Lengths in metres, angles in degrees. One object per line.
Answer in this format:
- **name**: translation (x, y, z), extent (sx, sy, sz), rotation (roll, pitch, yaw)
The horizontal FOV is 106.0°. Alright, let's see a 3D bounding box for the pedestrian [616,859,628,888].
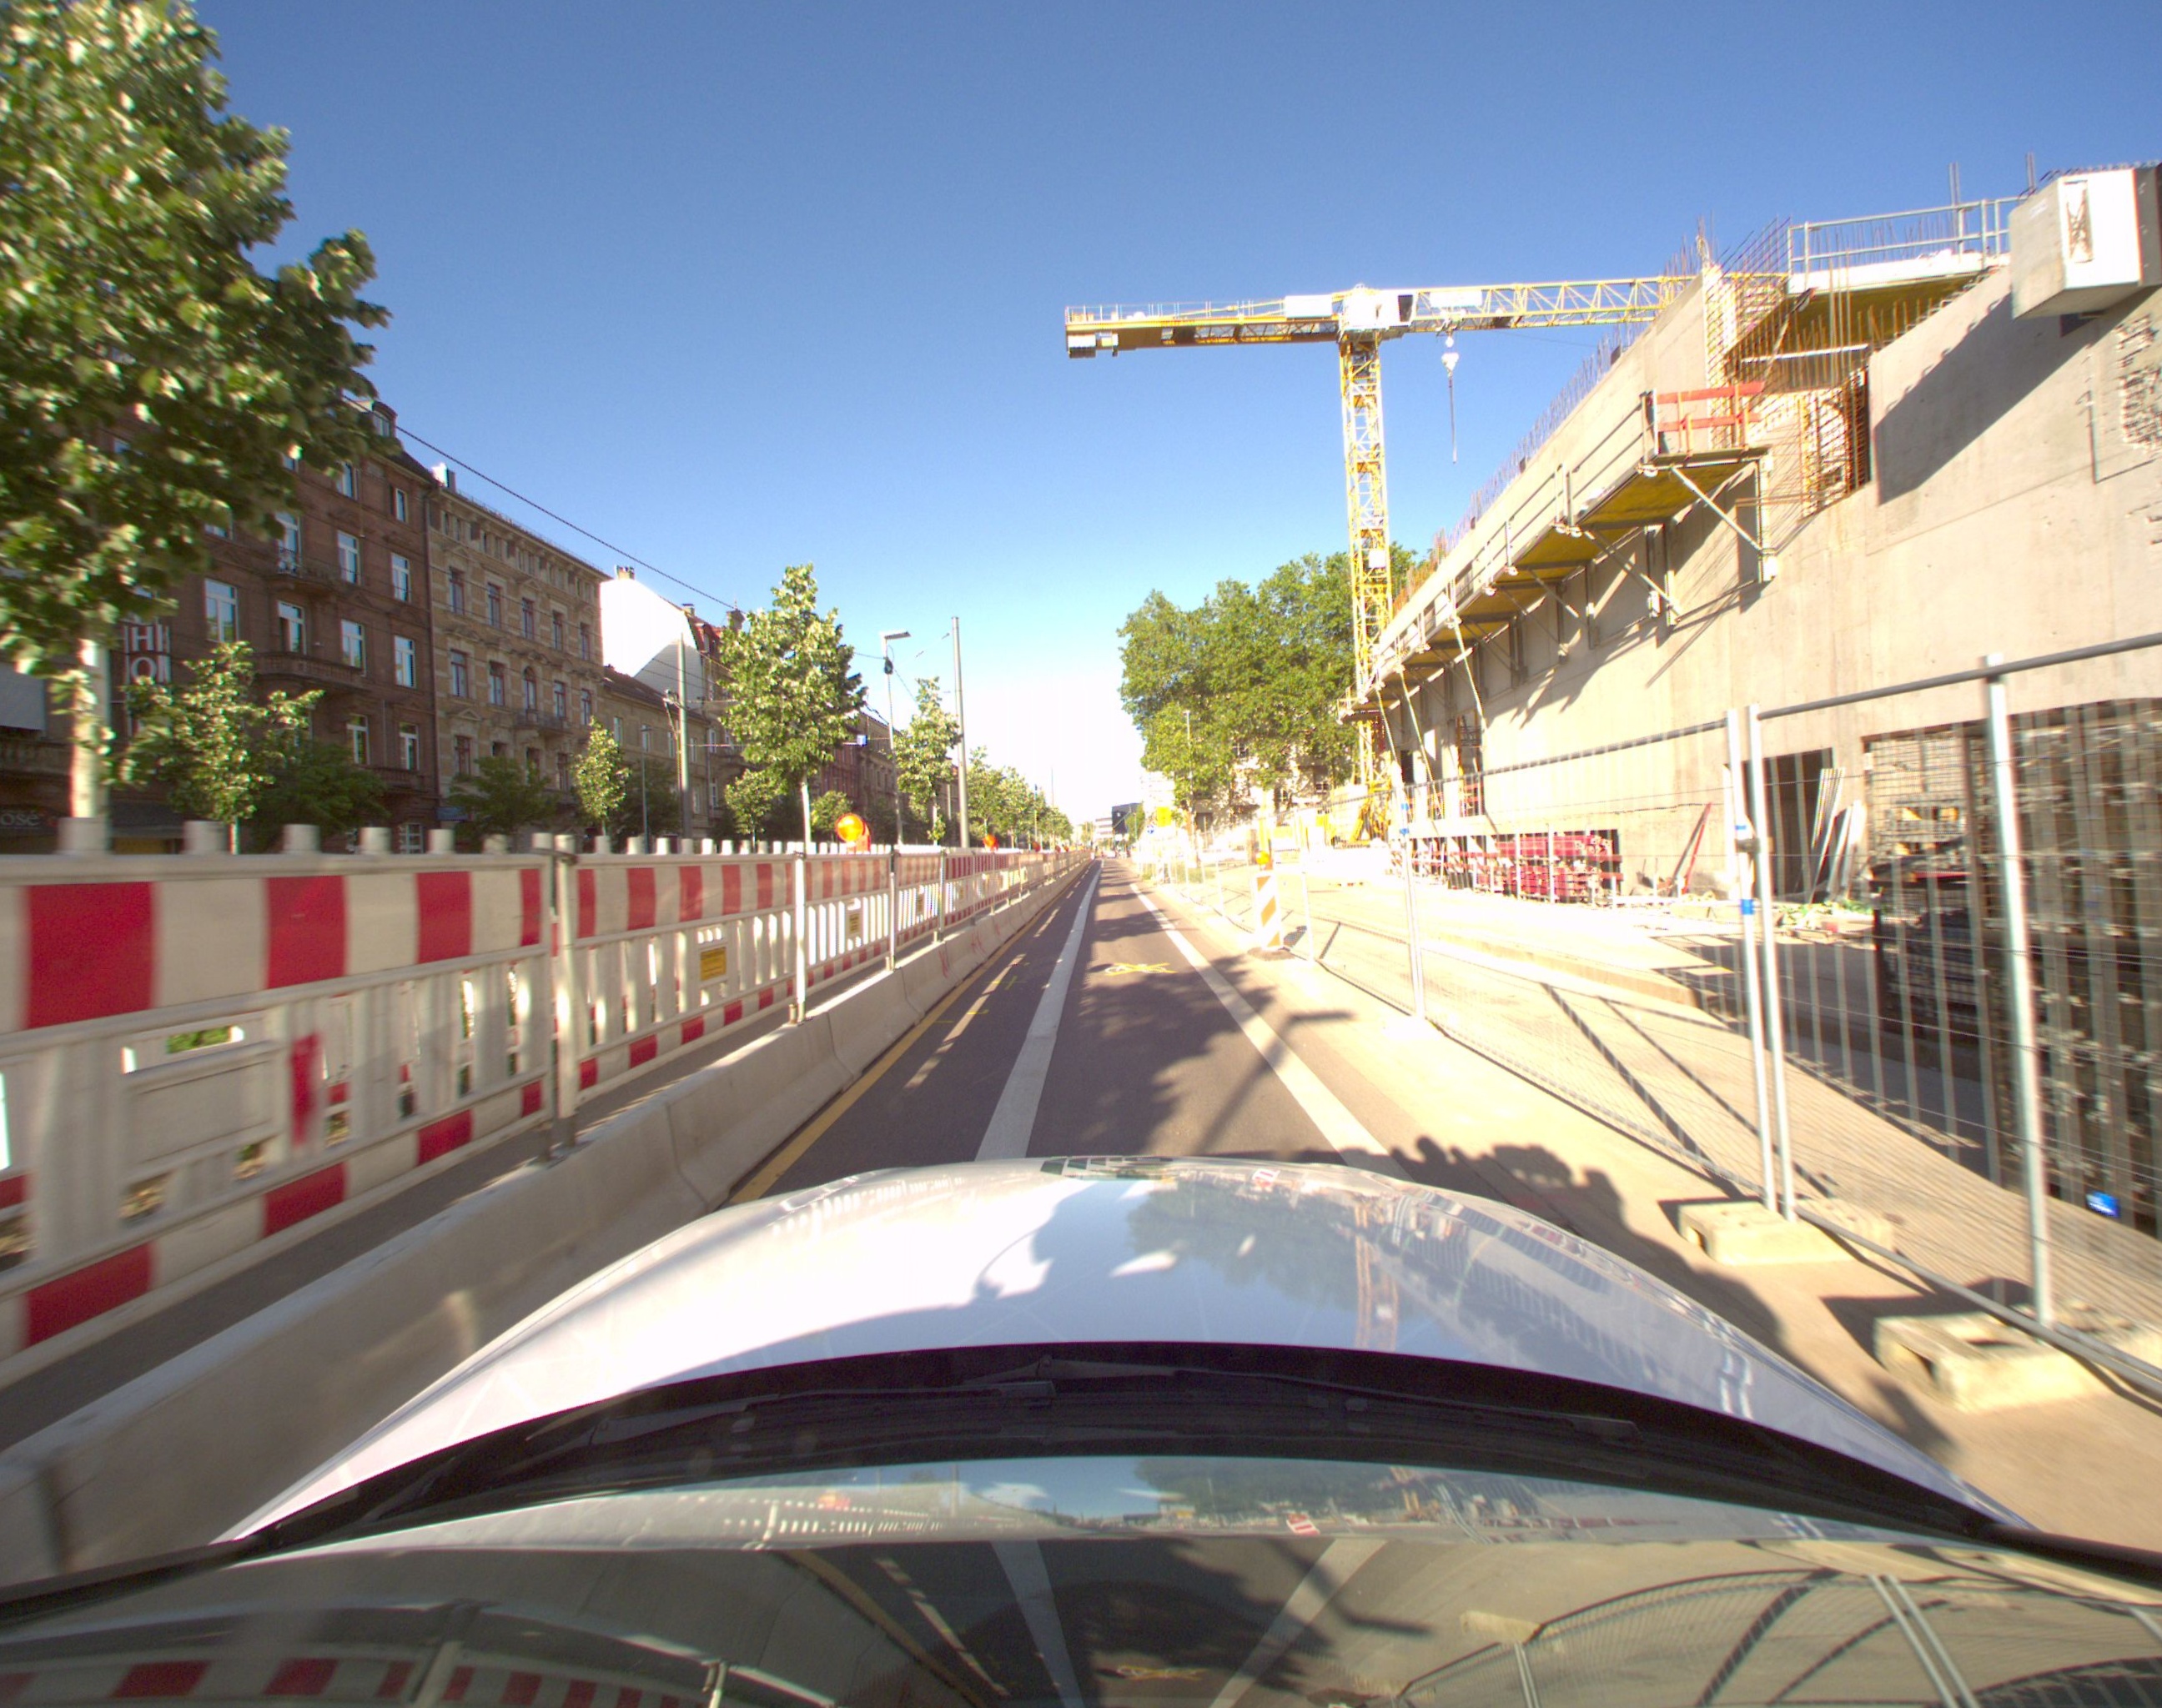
- **pedestrian**: translation (-25.879, 1.097, 45.927), extent (0.460, 1.585, 0.434), rotation (0, 0, -5)

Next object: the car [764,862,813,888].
- **car**: translation (-20.325, 1.421, 56.837), extent (1.561, 1.562, 4.716), rotation (-2, 0, 1)

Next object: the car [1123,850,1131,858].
- **car**: translation (11.406, 0.020, 203.821), extent (1.876, 1.842, 3.669), rotation (-2, 0, 2)

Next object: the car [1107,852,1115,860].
- **car**: translation (6.843, 0.472, 186.389), extent (1.876, 1.842, 3.669), rotation (-2, 0, 2)

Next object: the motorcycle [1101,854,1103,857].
- **motorcycle**: translation (5.945, 0.332, 229.640), extent (0.628, 0.896, 1.621), rotation (-2, 0, 2)

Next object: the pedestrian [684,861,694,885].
- **pedestrian**: translation (-26.174, 1.268, 54.362), extent (0.403, 1.534, 0.435), rotation (0, 0, 2)

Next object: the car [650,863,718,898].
- **car**: translation (-20.994, 1.371, 43.240), extent (1.560, 1.675, 3.810), rotation (-2, 0, 2)

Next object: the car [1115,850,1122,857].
- **car**: translation (10.798, -0.112, 234.387), extent (1.876, 1.842, 3.669), rotation (-2, 0, 2)

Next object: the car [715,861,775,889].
- **car**: translation (-20.678, 1.261, 50.395), extent (1.560, 1.562, 4.717), rotation (-2, 0, 2)

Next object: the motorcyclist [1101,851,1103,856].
- **motorcyclist**: translation (5.924, -0.190, 229.681), extent (0.628, 1.263, 0.606), rotation (-2, 0, 1)

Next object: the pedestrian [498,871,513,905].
- **pedestrian**: translation (-26.589, 1.560, 37.611), extent (0.432, 1.585, 0.385), rotation (0, 0, -1)
